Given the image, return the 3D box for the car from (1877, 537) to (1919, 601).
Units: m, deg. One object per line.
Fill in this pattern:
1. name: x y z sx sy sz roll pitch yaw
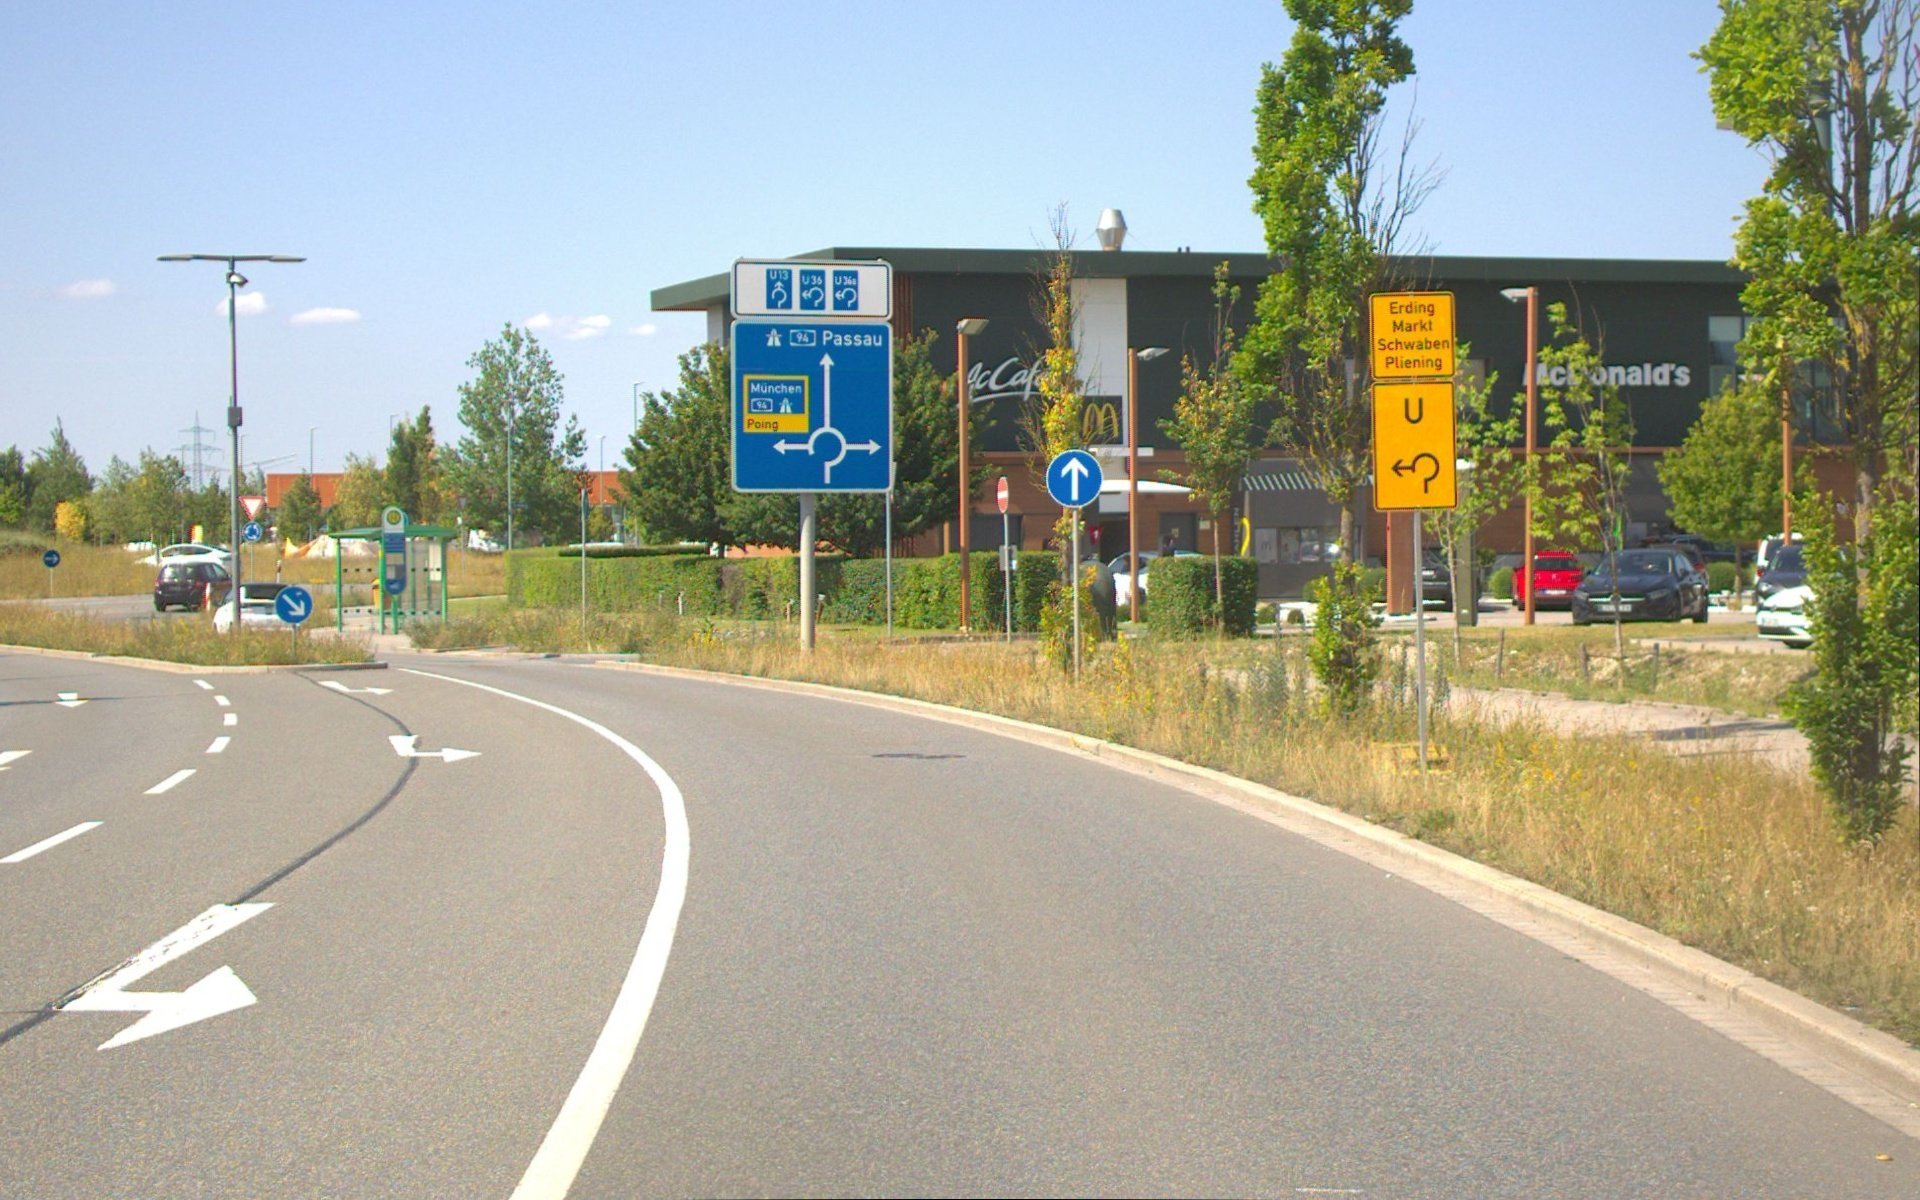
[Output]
1. car: 22.074 -0.703 74.534 3.992 1.368 1.796 -1 1 25

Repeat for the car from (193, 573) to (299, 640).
1. car: -15.762 0.125 75.775 1.616 1.429 3.793 -1 1 -22

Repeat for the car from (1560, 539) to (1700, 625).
1. car: 11.960 -0.341 61.174 1.699 1.457 4.165 -1 1 21

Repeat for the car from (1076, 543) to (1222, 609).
1. car: 4.295 -0.549 78.574 1.792 1.429 4.001 -1 1 -22

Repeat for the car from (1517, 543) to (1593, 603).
1. car: 14.873 -0.684 86.045 1.793 1.429 3.999 -1 1 9

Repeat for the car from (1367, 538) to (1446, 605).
1. car: 11.080 -0.725 85.161 1.793 1.599 3.999 -1 1 9

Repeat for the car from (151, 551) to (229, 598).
1. car: -23.888 -0.803 106.753 1.616 1.429 3.793 -1 1 -1

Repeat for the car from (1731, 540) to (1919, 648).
1. car: 13.900 -0.130 50.800 4.524 1.485 1.869 -2 1 -14

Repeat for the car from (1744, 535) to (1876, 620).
1. car: 15.500 -0.430 62.585 1.787 1.457 4.165 -1 1 21

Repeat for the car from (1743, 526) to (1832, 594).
1. car: 21.433 -1.058 88.955 1.794 1.696 3.996 -1 1 20

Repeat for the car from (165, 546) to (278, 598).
1. car: -29.068 -1.105 135.364 3.987 2.007 1.834 0 1 2
